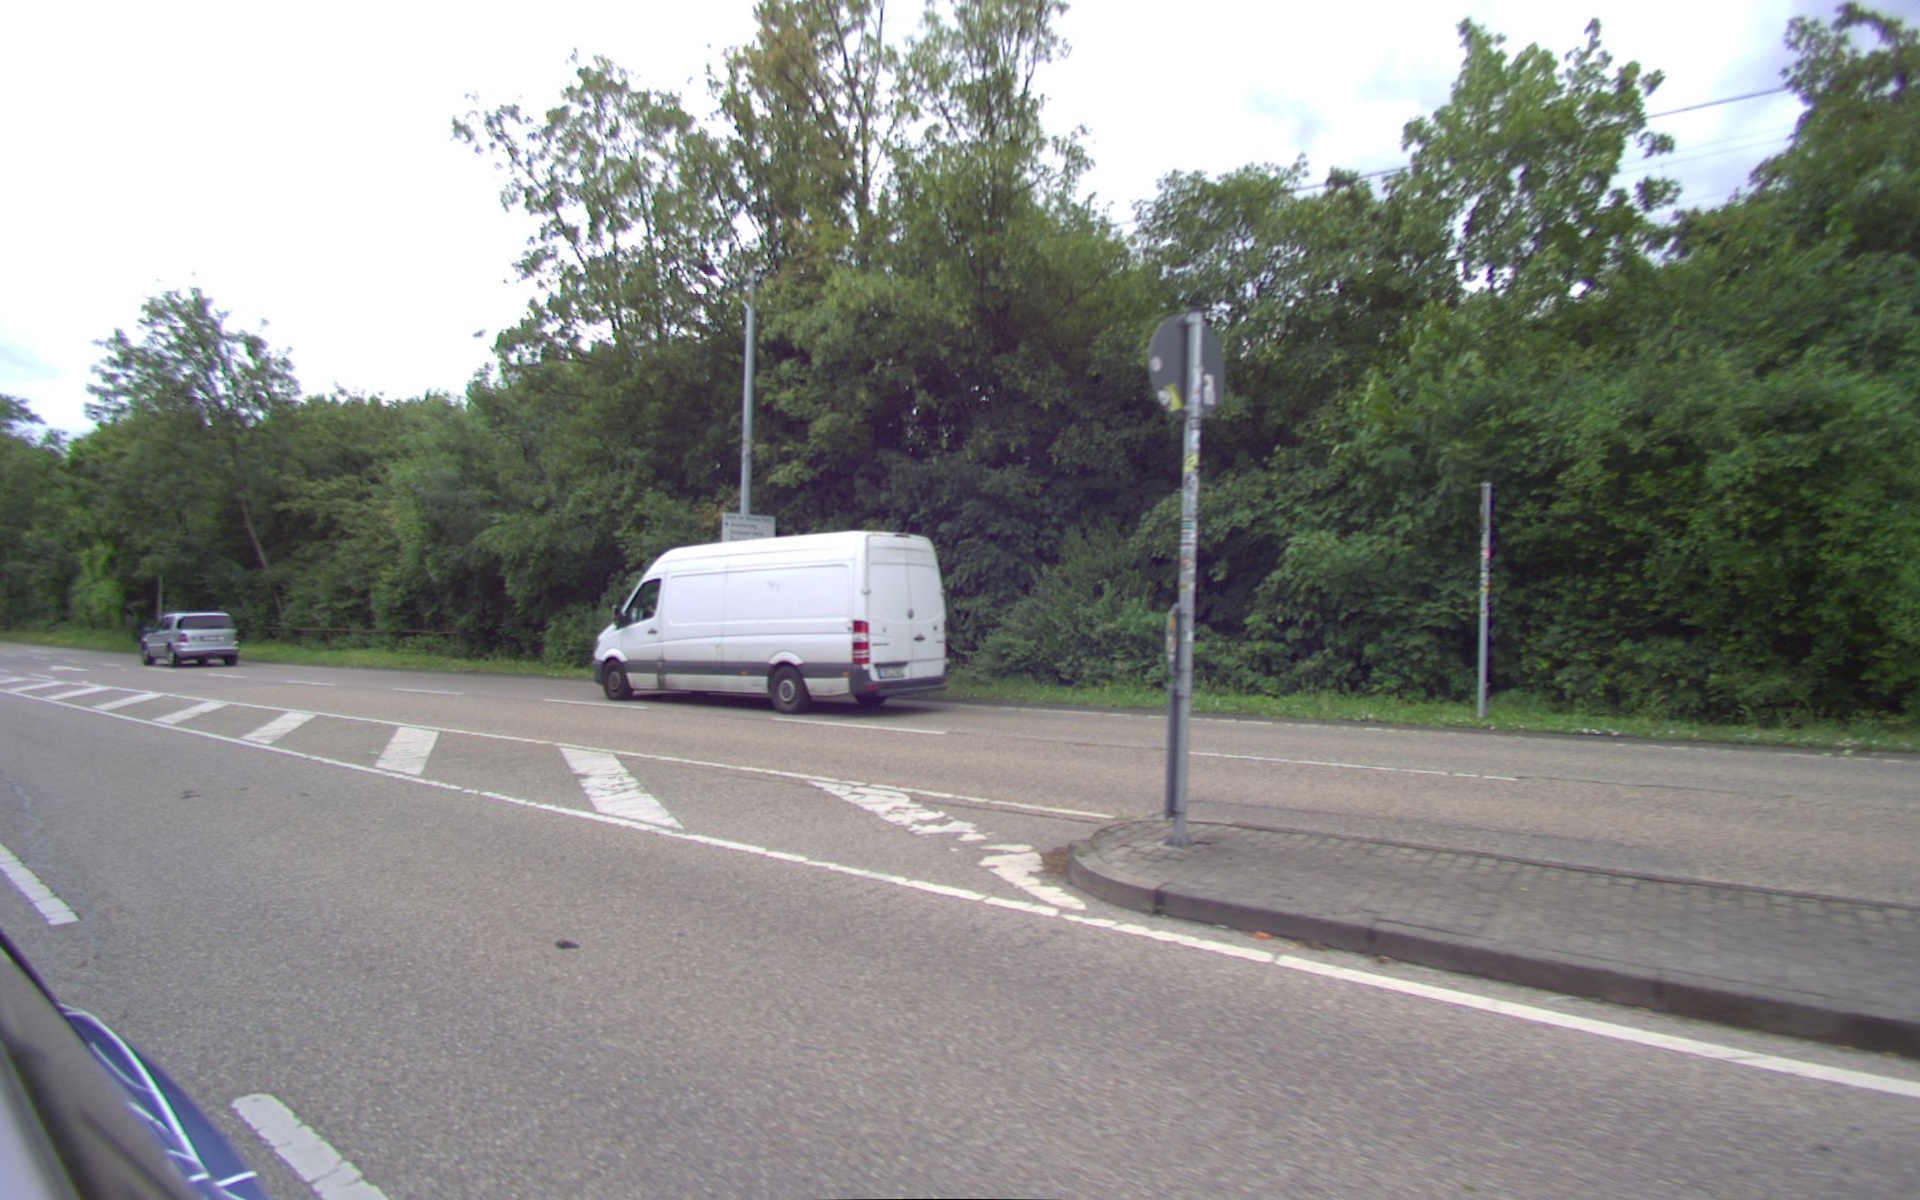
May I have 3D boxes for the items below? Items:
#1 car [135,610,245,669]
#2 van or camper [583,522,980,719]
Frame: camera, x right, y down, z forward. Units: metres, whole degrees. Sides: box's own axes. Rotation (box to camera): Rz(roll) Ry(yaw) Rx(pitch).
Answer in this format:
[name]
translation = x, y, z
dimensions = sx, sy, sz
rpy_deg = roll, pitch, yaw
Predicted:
[car]
translation = -25.763, 1.320, 33.826
dimensions = 4.375, 1.844, 1.797
rpy_deg = -2, -2, 37
[van or camper]
translation = -3.110, 0.332, 16.249
dimensions = 6.849, 2.574, 2.261
rpy_deg = -2, -1, 38
